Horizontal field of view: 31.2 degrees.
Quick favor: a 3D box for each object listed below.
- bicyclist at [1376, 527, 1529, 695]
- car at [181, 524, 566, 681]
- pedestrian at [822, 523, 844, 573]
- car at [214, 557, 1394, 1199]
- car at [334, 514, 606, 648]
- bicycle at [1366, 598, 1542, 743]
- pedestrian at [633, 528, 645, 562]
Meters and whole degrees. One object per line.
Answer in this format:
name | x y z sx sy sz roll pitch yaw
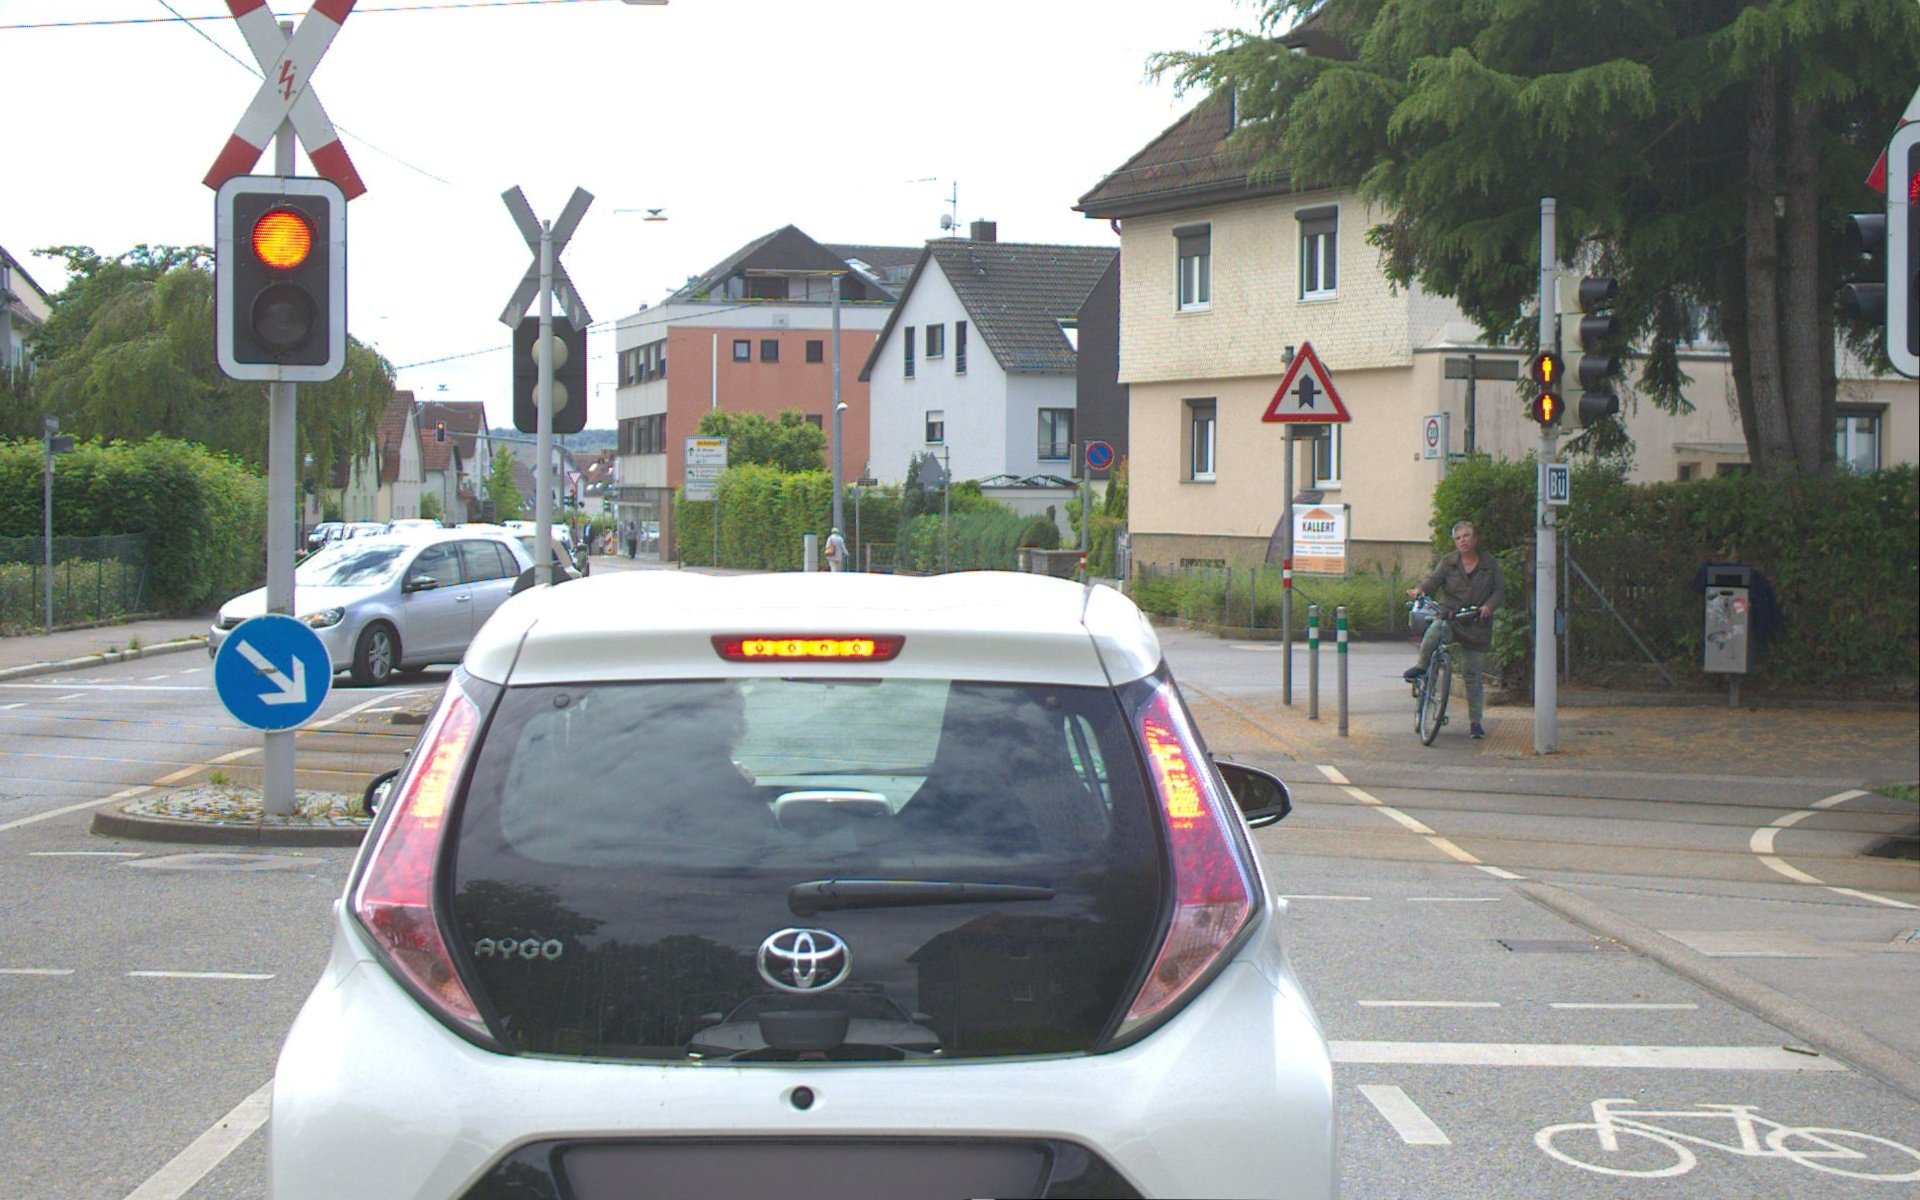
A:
bicyclist | 3.771 0.072 26.248 0.933 1.243 1.101 0 1 21
car | -5.801 0.015 34.453 1.691 1.453 4.063 2 1 27
pedestrian | -3.684 -1.517 99.770 0.414 1.433 0.437 2 2 37
car | -0.239 0.668 6.745 1.621 1.481 4.000 0 1 -1
car | -5.770 -0.216 40.595 1.579 1.505 2.781 2 1 42
bicycle | 3.806 0.517 26.346 0.933 1.037 1.913 0 1 21
pedestrian | -13.448 -2.304 144.005 0.413 1.433 0.438 1 1 -11
